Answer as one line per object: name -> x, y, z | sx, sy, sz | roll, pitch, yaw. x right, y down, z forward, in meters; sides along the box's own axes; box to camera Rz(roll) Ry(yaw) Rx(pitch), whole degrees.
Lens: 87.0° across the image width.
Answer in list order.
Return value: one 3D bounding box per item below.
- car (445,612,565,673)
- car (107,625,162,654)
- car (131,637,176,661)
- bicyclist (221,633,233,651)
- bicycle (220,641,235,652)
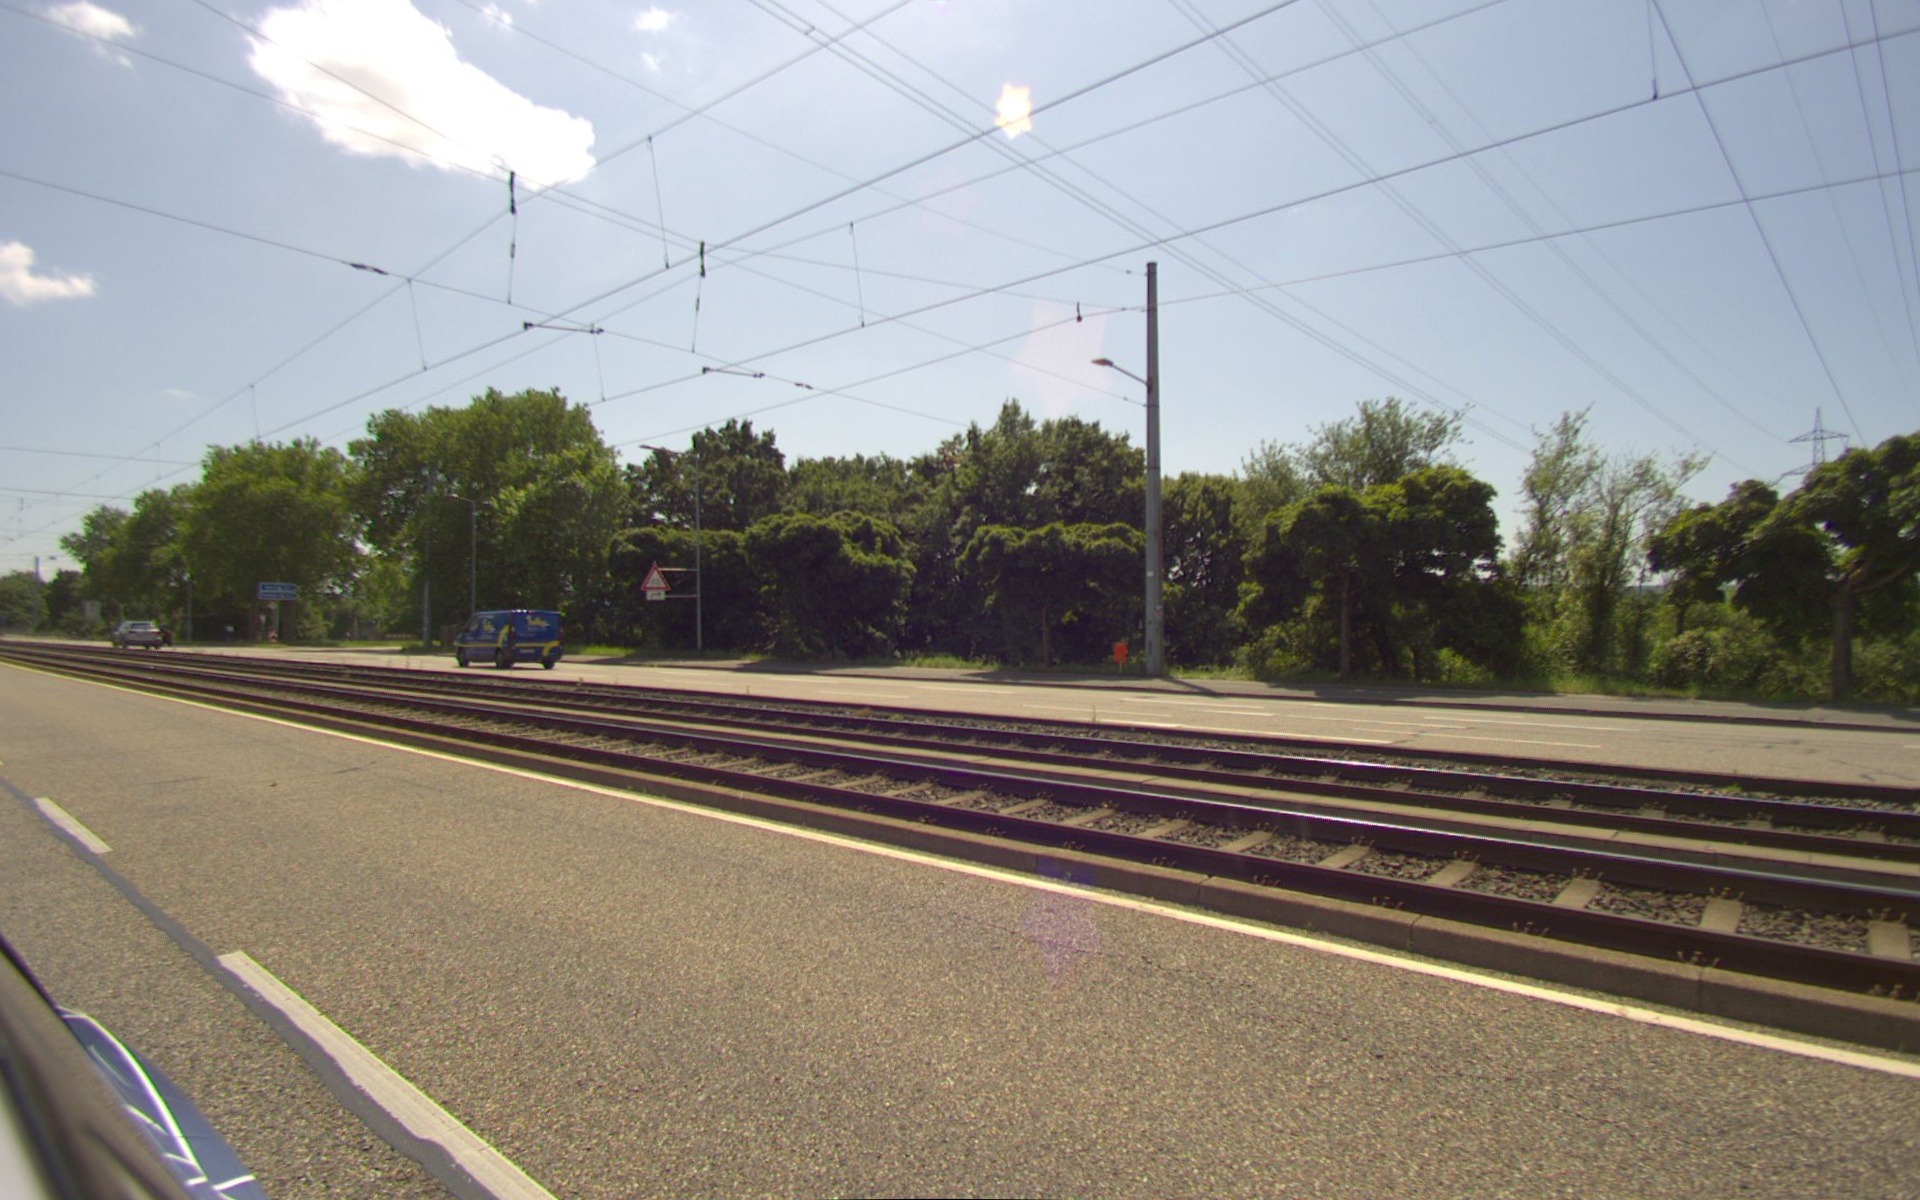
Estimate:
car -> -15.764, 1.441, 34.934 | 5.005, 1.942, 1.837 | -1, -3, 41
car -> -49.586, 2.370, 60.781 | 4.492, 1.638, 1.782 | -2, -3, 41
car -> -59.202, 3.581, 74.278 | 4.209, 1.638, 1.782 | -2, -3, 41
bicyclist -> -62.465, 3.557, 86.237 | 1.159, 1.529, 0.615 | -1, -2, 41
bicycle -> -62.412, 3.972, 86.203 | 2.090, 0.946, 0.615 | -1, -2, 41
